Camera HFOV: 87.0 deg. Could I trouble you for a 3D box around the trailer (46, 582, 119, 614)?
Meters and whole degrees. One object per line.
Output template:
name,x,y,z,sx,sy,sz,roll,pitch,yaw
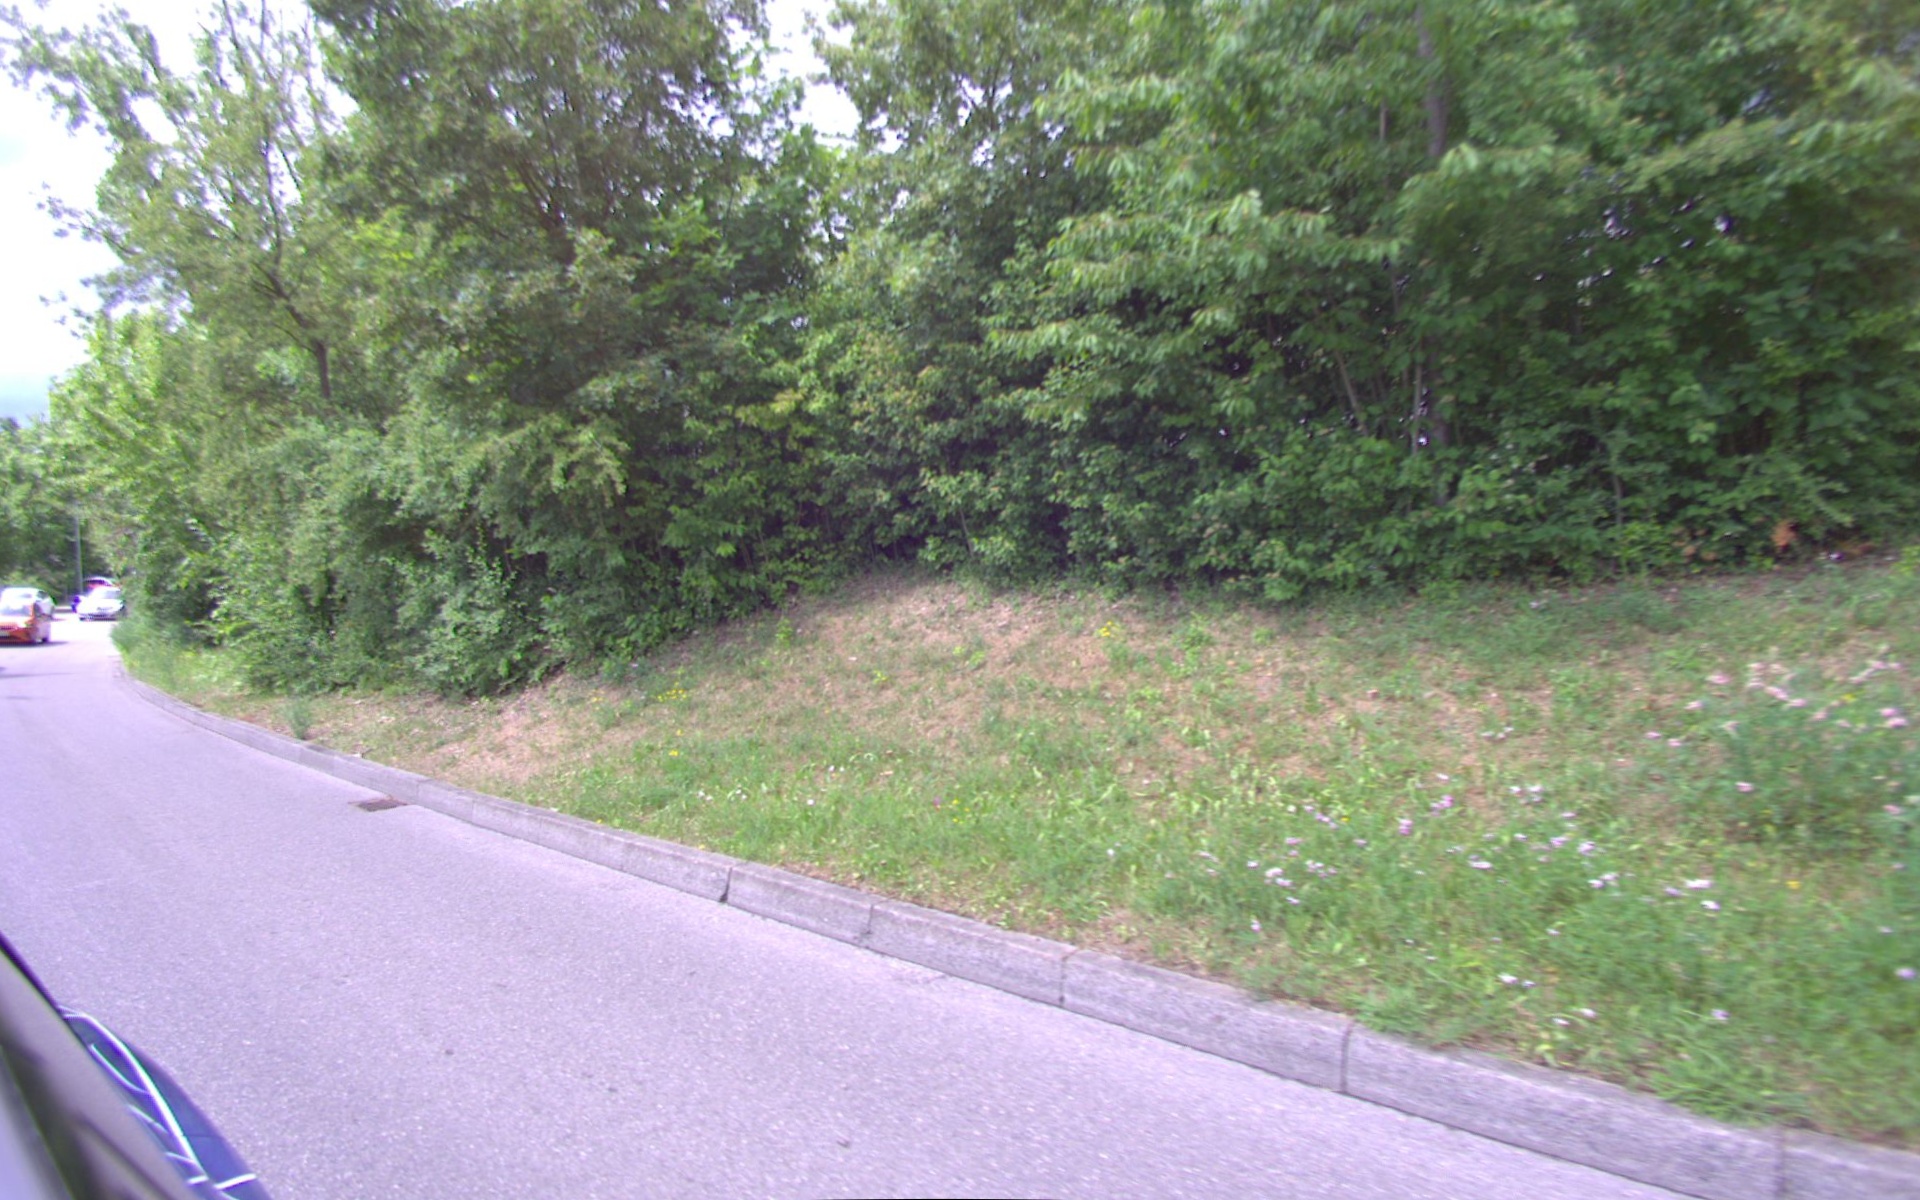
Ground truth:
trailer,-48.506,-0.149,56.023,1.784,1.590,4.505,1,1,-24

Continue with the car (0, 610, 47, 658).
car,-31.859,1.102,33.650,1.768,1.423,4.123,-1,1,-36

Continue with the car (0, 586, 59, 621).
car,-44.472,0.156,48.032,1.682,1.488,3.796,1,1,-28

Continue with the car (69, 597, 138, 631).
car,-42.531,0.666,50.355,1.766,1.520,4.126,-1,1,-28
